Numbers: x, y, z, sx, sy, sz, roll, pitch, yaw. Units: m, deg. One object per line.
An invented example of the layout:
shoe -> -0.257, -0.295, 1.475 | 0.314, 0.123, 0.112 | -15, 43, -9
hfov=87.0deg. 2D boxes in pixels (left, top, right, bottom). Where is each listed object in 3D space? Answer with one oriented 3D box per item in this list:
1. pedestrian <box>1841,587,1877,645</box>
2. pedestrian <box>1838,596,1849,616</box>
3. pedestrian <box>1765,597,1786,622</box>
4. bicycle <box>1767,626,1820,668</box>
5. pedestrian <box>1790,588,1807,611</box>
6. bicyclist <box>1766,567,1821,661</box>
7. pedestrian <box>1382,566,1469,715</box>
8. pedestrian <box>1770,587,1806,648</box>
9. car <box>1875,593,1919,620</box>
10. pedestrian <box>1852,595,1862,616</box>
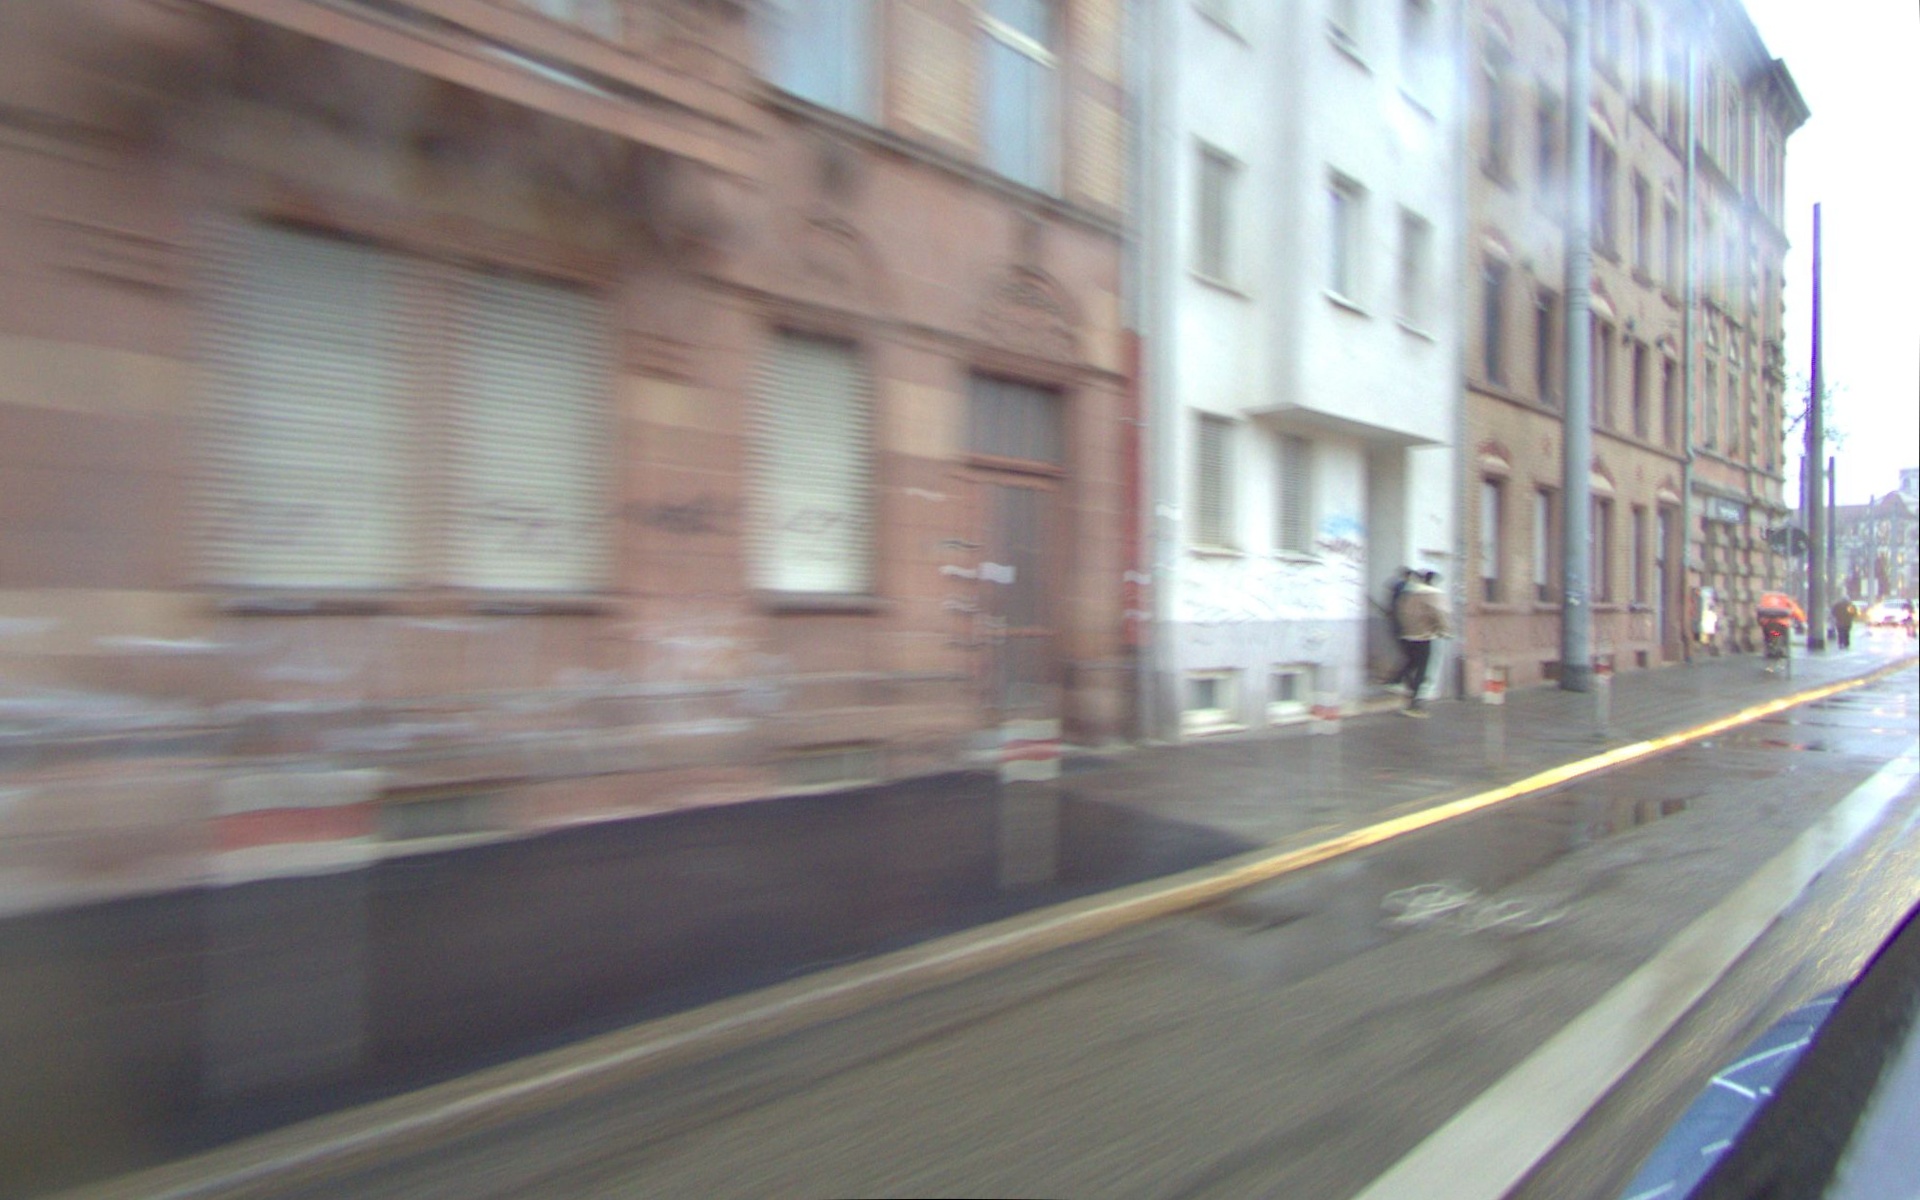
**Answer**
pedestrian -> 29.325, 0.508, 32.999 | 0.698, 1.848, 0.753 | 0, -1, -38
pedestrian -> 76.909, 0.504, 88.116 | 0.635, 1.784, 0.504 | -1, -1, 37
pedestrian -> 54.461, 0.649, 67.587 | 0.808, 1.640, 0.745 | 0, 0, 17
bicycle -> 17.250, 0.956, 20.925 | 1.829, 0.770, 0.608 | -1, 1, -43
pedestrian -> 59.917, -0.012, 72.311 | 0.699, 1.640, 0.745 | 0, 0, 16
bicyclist -> 17.268, 0.274, 20.963 | 1.093, 1.903, 0.745 | 0, 0, -43
pedestrian -> 5.754, 0.476, 12.513 | 0.661, 1.766, 0.777 | 0, 0, -40
pedestrian -> 21.390, 0.444, 26.138 | 0.699, 1.568, 0.632 | 0, -1, -44
car -> 68.523, 0.449, 73.593 | 4.779, 1.861, 2.000 | 0, 0, -36
pedestrian -> 77.612, 0.494, 87.576 | 0.635, 1.784, 0.504 | -1, -1, 37
